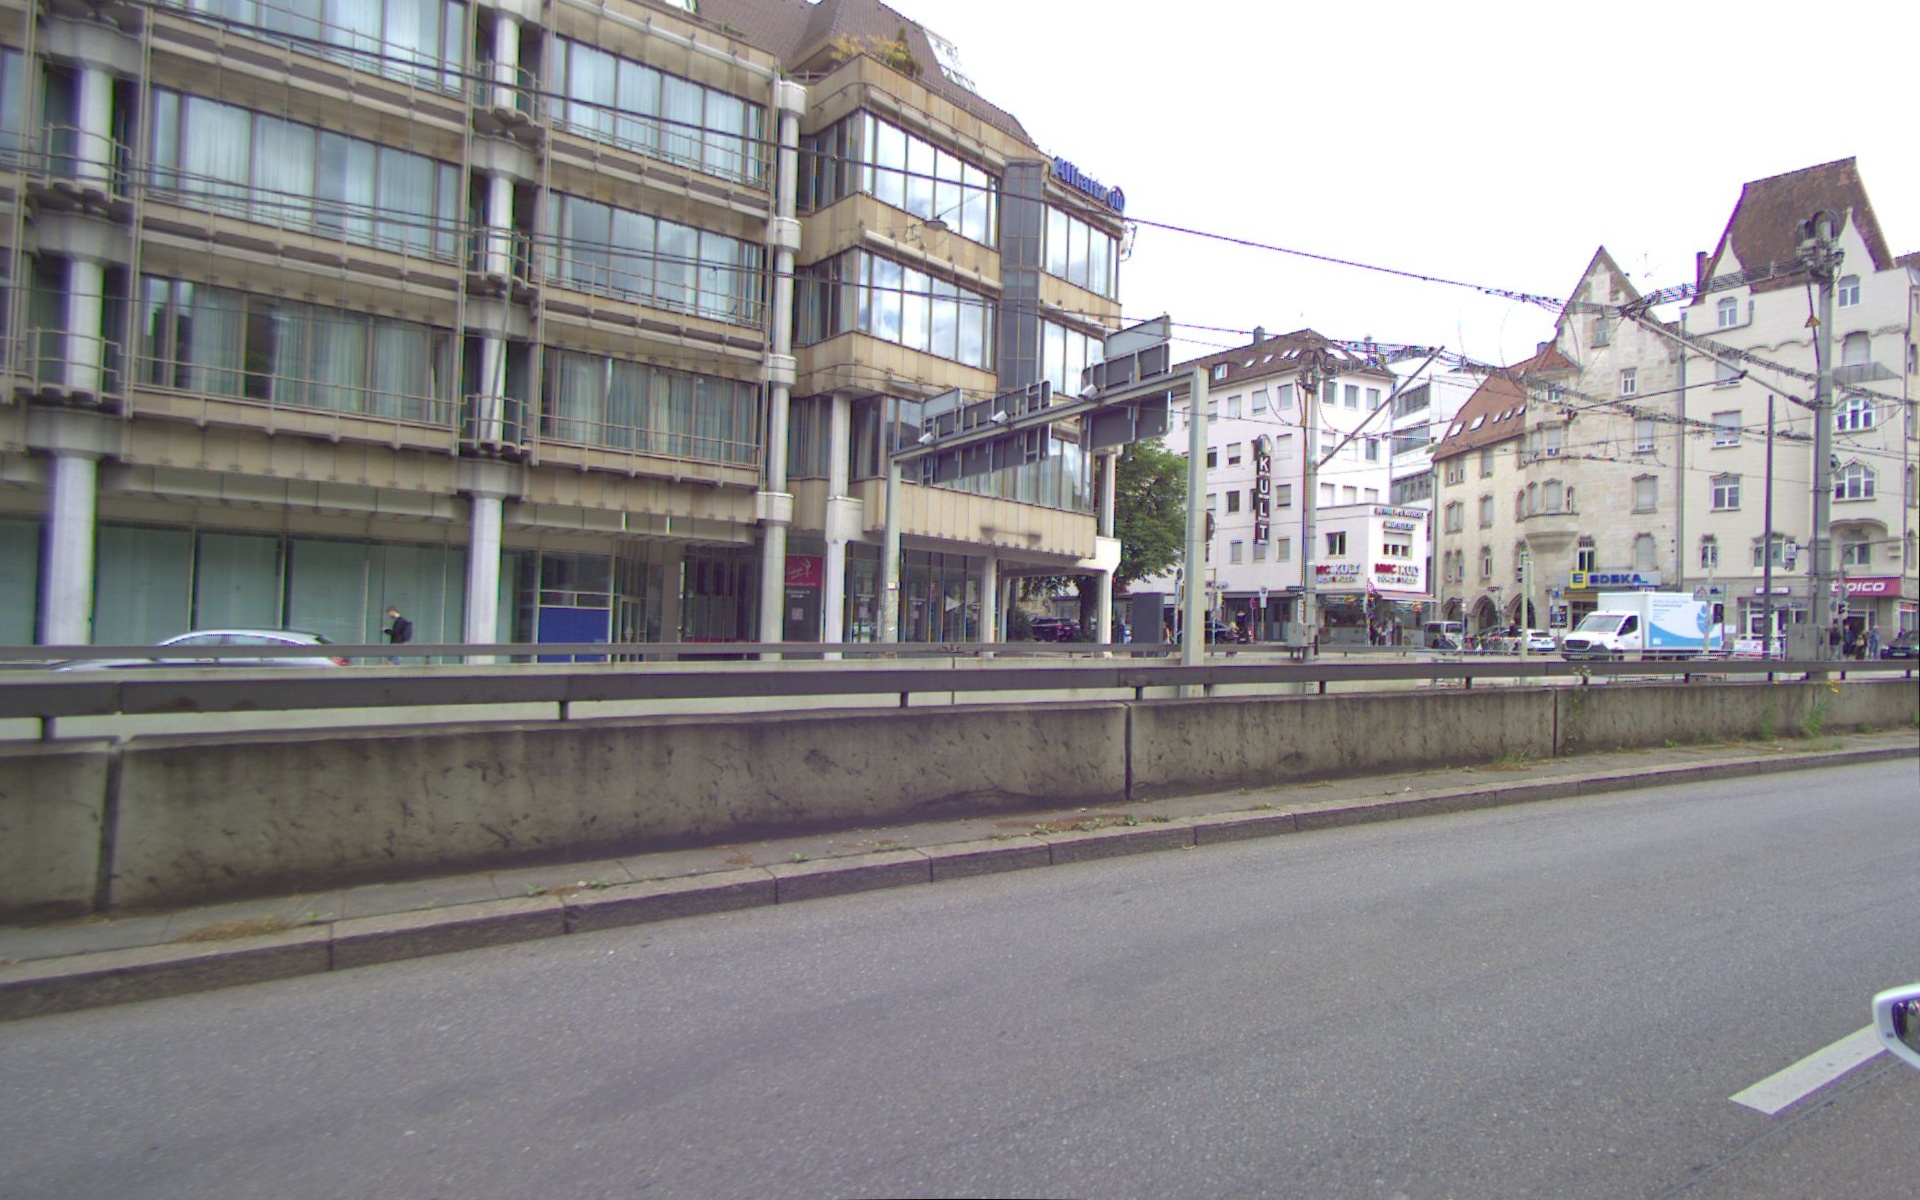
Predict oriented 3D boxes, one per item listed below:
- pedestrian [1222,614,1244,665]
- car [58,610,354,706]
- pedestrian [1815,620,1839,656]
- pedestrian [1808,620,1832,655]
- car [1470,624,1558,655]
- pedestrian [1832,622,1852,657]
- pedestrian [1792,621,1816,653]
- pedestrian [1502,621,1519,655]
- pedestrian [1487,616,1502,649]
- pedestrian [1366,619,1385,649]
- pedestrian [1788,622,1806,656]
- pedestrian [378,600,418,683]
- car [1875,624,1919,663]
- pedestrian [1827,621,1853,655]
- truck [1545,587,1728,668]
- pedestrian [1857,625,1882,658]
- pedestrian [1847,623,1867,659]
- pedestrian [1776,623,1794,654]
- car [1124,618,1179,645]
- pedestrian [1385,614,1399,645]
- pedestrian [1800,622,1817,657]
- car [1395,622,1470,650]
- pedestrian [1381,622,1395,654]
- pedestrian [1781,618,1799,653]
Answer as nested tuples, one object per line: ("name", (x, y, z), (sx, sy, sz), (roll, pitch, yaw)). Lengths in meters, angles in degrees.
("pedestrian", (9.744, 1.421, 35.895), (0.569, 1.803, 0.508), (1, -1, -24))
("car", (-13.070, 0.971, 17.765), (3.997, 1.521, 1.655), (1, -1, -31))
("pedestrian", (44.120, 1.951, 51.142), (0.585, 1.803, 0.710), (1, -1, -10))
("pedestrian", (45.278, 1.969, 52.888), (0.654, 1.803, 0.791), (1, -1, 5))
("car", (32.855, 2.323, 59.706), (1.728, 1.581, 4.492), (1, 0, -21))
("pedestrian", (45.698, 2.039, 52.038), (0.565, 1.803, 0.512), (1, -1, 5))
("pedestrian", (45.397, 1.986, 54.043), (0.643, 1.728, 0.781), (1, -1, -20))
("pedestrian", (29.464, 2.014, 53.756), (0.567, 1.803, 0.510), (1, -1, -14))
("pedestrian", (29.493, 1.777, 55.404), (0.501, 1.803, 0.577), (1, -1, 0))
("pedestrian", (23.759, 1.940, 57.386), (0.643, 1.728, 0.781), (1, -1, -20))
("pedestrian", (43.882, 2.047, 52.654), (0.568, 1.803, 0.509), (1, -1, -20))
("pedestrian", (-12.831, 0.939, 22.937), (0.731, 1.836, 0.726), (1, 0, -32))
("car", (46.280, 2.100, 48.361), (4.720, 1.782, 1.667), (2, 0, -27))
("pedestrian", (45.648, 1.967, 52.103), (0.712, 1.728, 0.781), (1, -1, -21))
("truck", (27.766, 1.125, 41.221), (7.259, 3.117, 2.264), (1, 0, -19))
("pedestrian", (46.672, 2.133, 51.527), (0.678, 1.699, 0.674), (1, -1, -8))
("pedestrian", (45.230, 2.059, 50.632), (0.567, 1.803, 0.510), (1, -1, -12))
("pedestrian", (42.587, 1.983, 51.841), (0.505, 1.603, 0.573), (1, -1, -26))
("car", (12.731, 2.088, 66.933), (1.632, 1.734, 3.619), (1, -1, -31))
("pedestrian", (25.486, 1.757, 59.271), (0.588, 1.803, 0.510), (1, -1, -14))
("pedestrian", (44.542, 2.087, 52.717), (0.569, 1.803, 0.508), (1, -1, -24))
("car", (29.956, 2.253, 63.883), (1.726, 1.581, 4.497), (1, 0, -17))
("pedestrian", (24.452, 2.168, 57.385), (0.567, 1.803, 0.510), (1, -1, -14))
("pedestrian", (42.918, 1.843, 51.943), (0.504, 1.803, 0.574), (1, -1, -21))
